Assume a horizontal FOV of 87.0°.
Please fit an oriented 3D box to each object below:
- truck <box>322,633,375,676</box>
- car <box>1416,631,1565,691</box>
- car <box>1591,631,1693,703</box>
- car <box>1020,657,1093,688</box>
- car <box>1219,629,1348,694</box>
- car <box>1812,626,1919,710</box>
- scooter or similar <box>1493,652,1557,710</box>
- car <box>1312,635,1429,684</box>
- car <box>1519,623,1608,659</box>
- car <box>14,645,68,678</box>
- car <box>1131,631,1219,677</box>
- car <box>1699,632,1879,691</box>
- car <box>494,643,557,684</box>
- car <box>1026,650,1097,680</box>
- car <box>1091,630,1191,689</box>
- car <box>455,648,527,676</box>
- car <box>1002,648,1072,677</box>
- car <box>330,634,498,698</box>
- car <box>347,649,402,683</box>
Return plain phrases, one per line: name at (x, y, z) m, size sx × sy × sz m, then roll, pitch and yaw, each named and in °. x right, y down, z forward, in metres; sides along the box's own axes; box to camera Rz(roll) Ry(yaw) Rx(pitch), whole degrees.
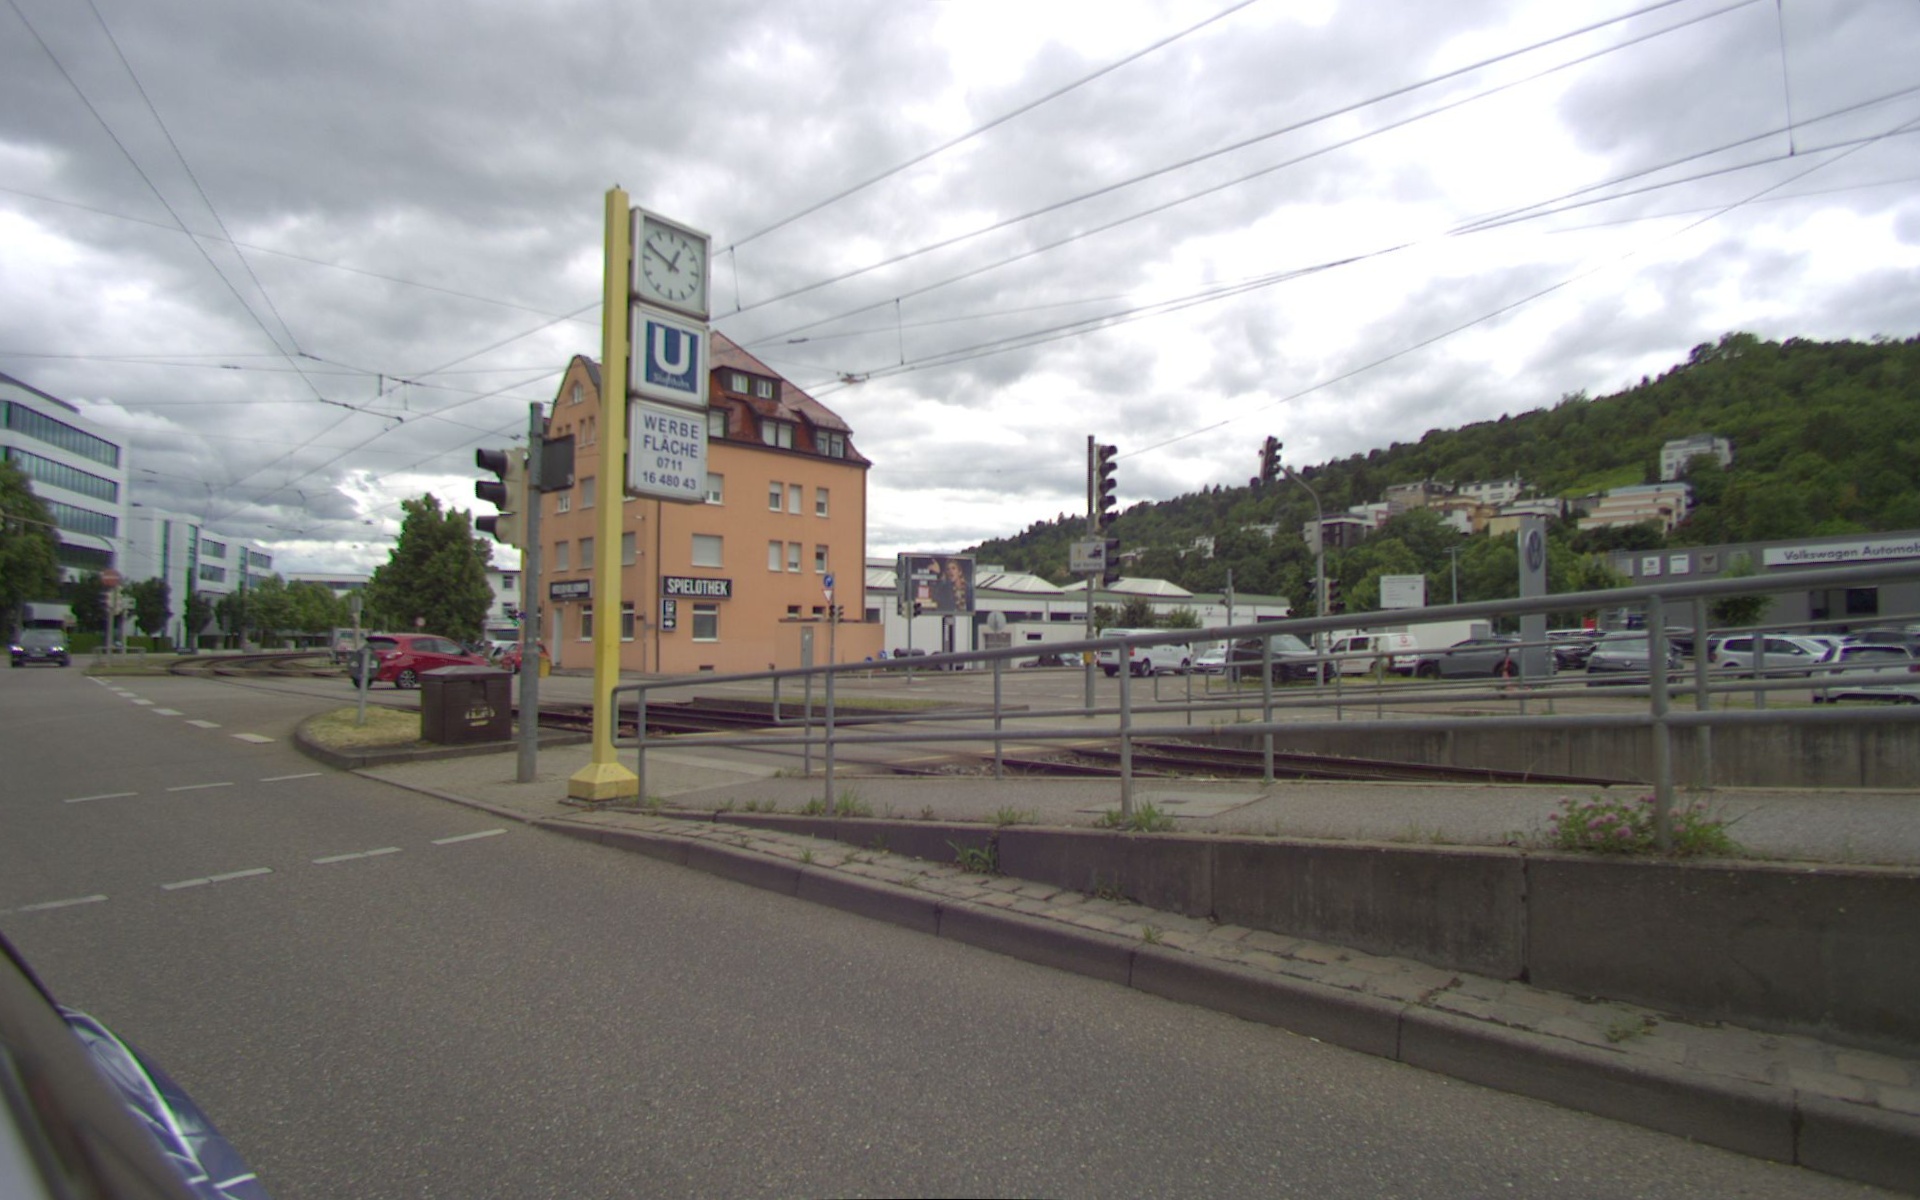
truck at (-36.999, 3.265, 61.349) m, size 2.281 × 2.440 × 5.672 m, roll 3°, pitch -4°, yaw -28°
car at (18.076, 2.050, 34.620) m, size 1.967 × 1.718 × 4.010 m, roll 3°, pitch 0°, yaw -36°
car at (17.248, 1.631, 25.578) m, size 1.996 × 1.652 × 3.952 m, roll 0°, pitch -2°, yaw 35°
car at (5.146, 3.850, 54.047) m, size 3.563 × 1.497 × 1.584 m, roll -2°, pitch -3°, yaw 36°
car at (9.929, 1.845, 31.401) m, size 1.967 × 1.652 × 4.011 m, roll -2°, pitch 1°, yaw -14°
car at (20.565, 1.487, 22.562) m, size 1.996 × 1.652 × 3.952 m, roll 3°, pitch 0°, yaw 35°
scooter or similar at (13.867, 1.984, 24.867) m, size 0.566 × 1.298 × 1.208 m, roll 3°, pitch 0°, yaw -32°
car at (18.538, 2.721, 46.001) m, size 1.965 × 2.029 × 5.034 m, roll 3°, pitch -4°, yaw -22°
car at (34.447, 2.309, 57.860) m, size 1.821 × 1.807 × 4.014 m, roll 3°, pitch 0°, yaw -25°
car at (-39.870, 2.643, 43.961) m, size 1.603 × 1.342 × 3.179 m, roll 2°, pitch -3°, yaw -40°
car at (12.360, 3.074, 58.296) m, size 4.502 × 2.259 × 1.975 m, roll 3°, pitch 0°, yaw 36°
car at (29.507, 2.152, 36.212) m, size 1.965 × 1.742 × 4.526 m, roll 3°, pitch 0°, yaw -22°
car at (-19.852, 2.853, 46.162) m, size 1.675 × 1.536 × 4.009 m, roll 1°, pitch 1°, yaw -38°
car at (6.961, 4.469, 69.177) m, size 4.433 × 1.853 × 2.006 m, roll 3°, pitch 0°, yaw -31°
car at (7.604, 2.408, 42.112) m, size 2.003 × 2.056 × 4.767 m, roll 1°, pitch 1°, yaw 40°
car at (-38.328, 5.033, 82.918) m, size 1.734 × 2.117 × 6.267 m, roll -1°, pitch -2°, yaw 16°
car at (5.432, 4.394, 71.255) m, size 4.433 × 1.853 × 2.006 m, roll 3°, pitch 0°, yaw -30°
car at (-14.593, 1.720, 27.253) m, size 1.755 × 1.541 × 3.714 m, roll 1°, pitch -2°, yaw 21°
car at (-32.225, 3.622, 55.659) m, size 3.372 × 1.431 × 1.577 m, roll -10°, pitch -5°, yaw 41°
